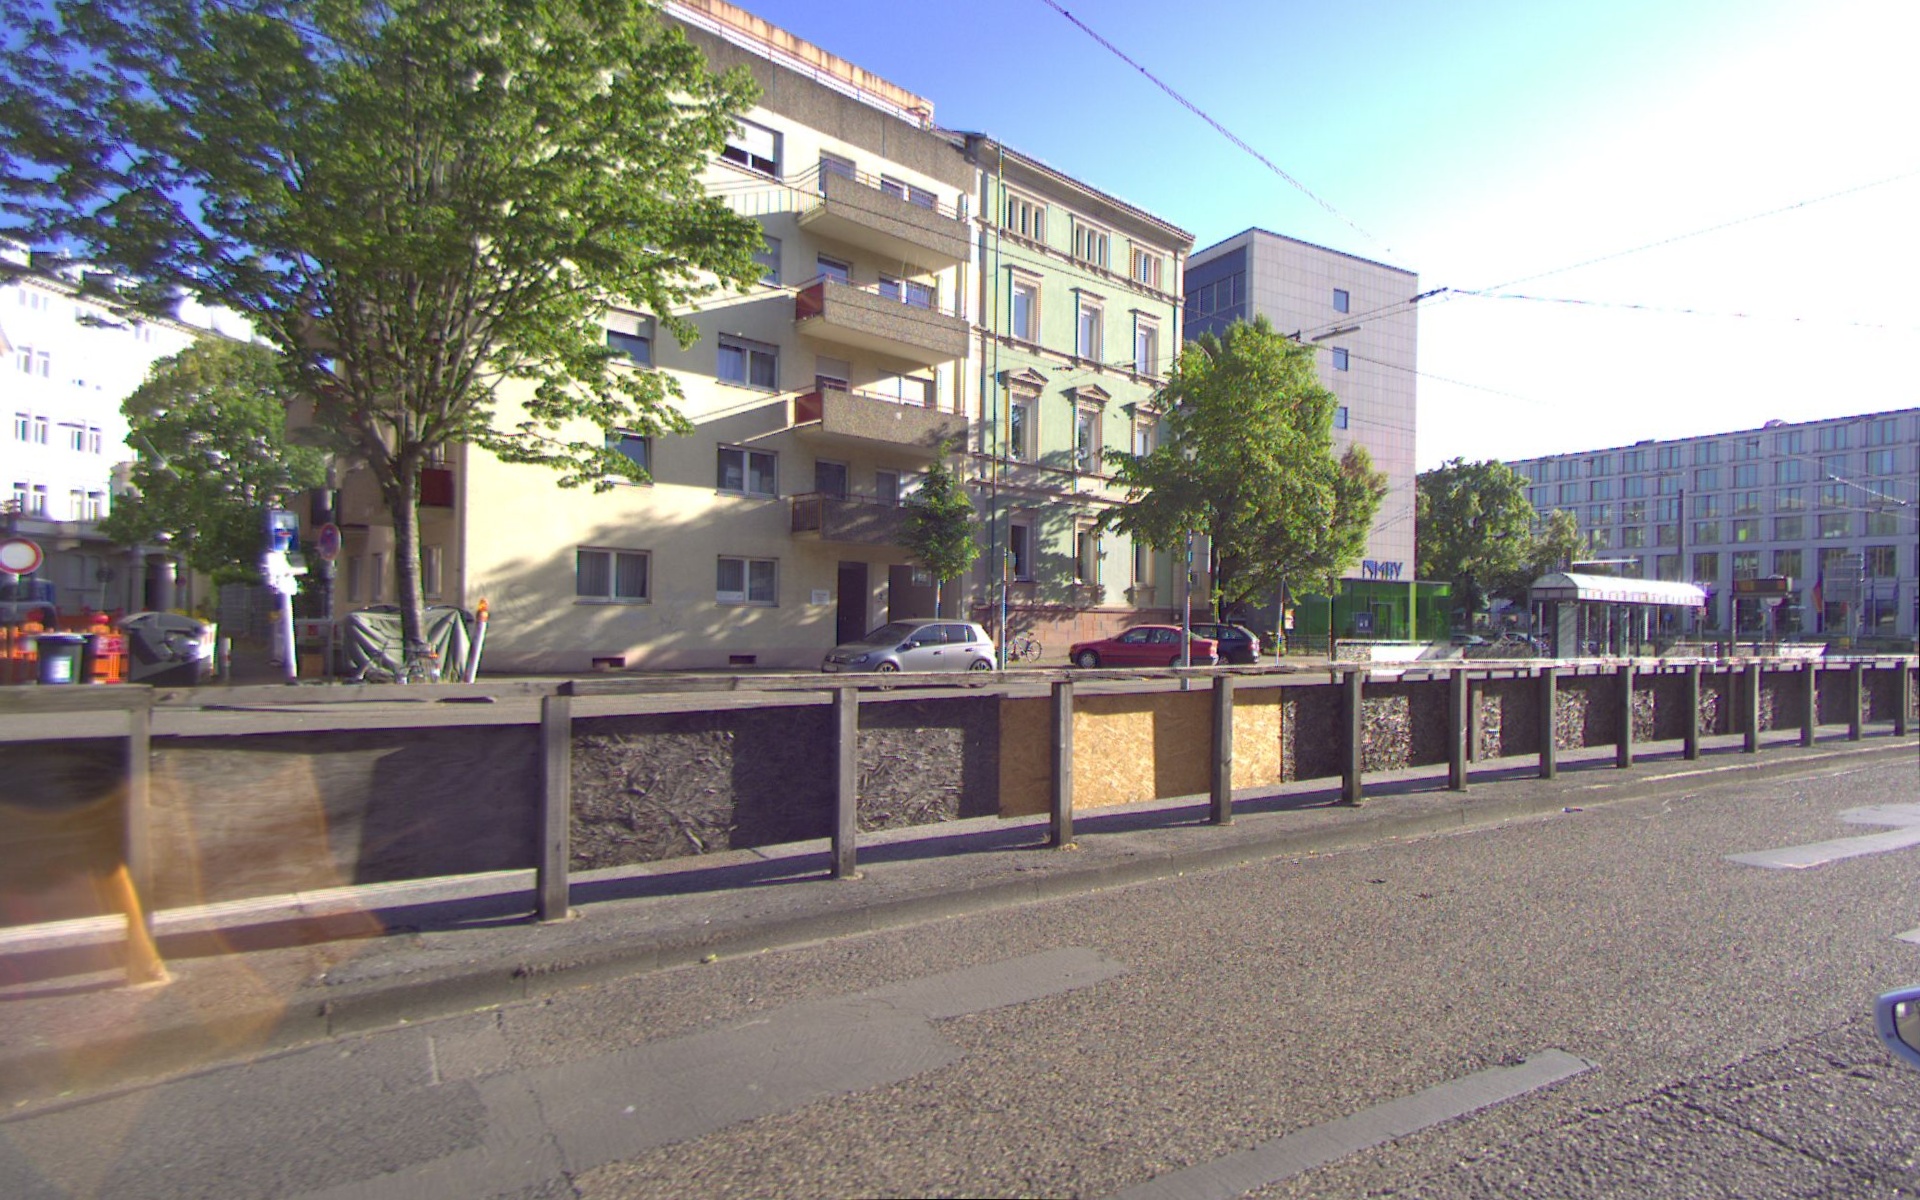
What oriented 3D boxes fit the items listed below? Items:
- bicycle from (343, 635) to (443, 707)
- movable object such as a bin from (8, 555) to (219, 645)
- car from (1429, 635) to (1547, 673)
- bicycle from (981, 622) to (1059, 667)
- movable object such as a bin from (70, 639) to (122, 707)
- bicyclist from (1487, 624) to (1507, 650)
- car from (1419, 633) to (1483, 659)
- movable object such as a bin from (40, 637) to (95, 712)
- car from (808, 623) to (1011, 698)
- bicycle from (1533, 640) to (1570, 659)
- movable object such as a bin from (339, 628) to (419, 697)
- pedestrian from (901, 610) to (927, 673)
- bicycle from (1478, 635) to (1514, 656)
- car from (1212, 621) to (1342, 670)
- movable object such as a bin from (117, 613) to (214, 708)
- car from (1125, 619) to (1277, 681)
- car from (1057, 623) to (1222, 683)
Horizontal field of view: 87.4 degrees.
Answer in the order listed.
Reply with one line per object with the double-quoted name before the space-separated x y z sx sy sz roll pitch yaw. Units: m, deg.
"bicycle" -9.222 1.148 16.382 1.389 1.131 0.262 2 -1 -31
"movable object such as a bin" -30.978 0.083 37.130 5.201 2.968 3.923 3 -2 -30
"car" 23.000 2.306 43.872 4.433 1.368 1.588 2 -1 29
"bicycle" 1.984 1.435 32.680 2.990 1.416 0.710 2 -1 -44
"movable object such as a bin" -13.872 1.171 16.143 0.547 1.047 0.444 3 -2 -36
"bicyclist" 35.918 2.490 67.192 0.832 1.717 0.888 1 -1 -23
"car" 32.184 3.013 65.891 1.505 1.526 3.512 1 0 -31
"movable object such as a bin" -13.585 1.128 15.296 0.547 1.111 0.377 3 -2 -36
"car" -1.053 1.286 22.129 4.254 1.429 1.693 2 1 -38
"bicycle" 37.440 3.101 63.567 0.779 1.137 1.917 1 -1 -25
"movable object such as a bin" -9.927 1.060 17.176 1.136 1.141 0.422 2 -1 -37
"pedestrian" -1.239 1.129 27.284 0.485 1.693 0.507 1 -1 -36
"bicycle" 35.869 3.035 67.201 0.874 1.305 2.043 1 -1 -23
"car" 12.046 1.684 38.224 4.433 1.590 1.588 2 -1 29
"movable object such as a bin" -12.692 0.964 16.087 1.136 1.477 0.422 3 -2 -36
"car" 7.474 1.511 31.190 4.425 1.663 1.591 2 0 16
"car" 5.265 1.501 29.426 4.427 1.444 1.873 2 -1 21
